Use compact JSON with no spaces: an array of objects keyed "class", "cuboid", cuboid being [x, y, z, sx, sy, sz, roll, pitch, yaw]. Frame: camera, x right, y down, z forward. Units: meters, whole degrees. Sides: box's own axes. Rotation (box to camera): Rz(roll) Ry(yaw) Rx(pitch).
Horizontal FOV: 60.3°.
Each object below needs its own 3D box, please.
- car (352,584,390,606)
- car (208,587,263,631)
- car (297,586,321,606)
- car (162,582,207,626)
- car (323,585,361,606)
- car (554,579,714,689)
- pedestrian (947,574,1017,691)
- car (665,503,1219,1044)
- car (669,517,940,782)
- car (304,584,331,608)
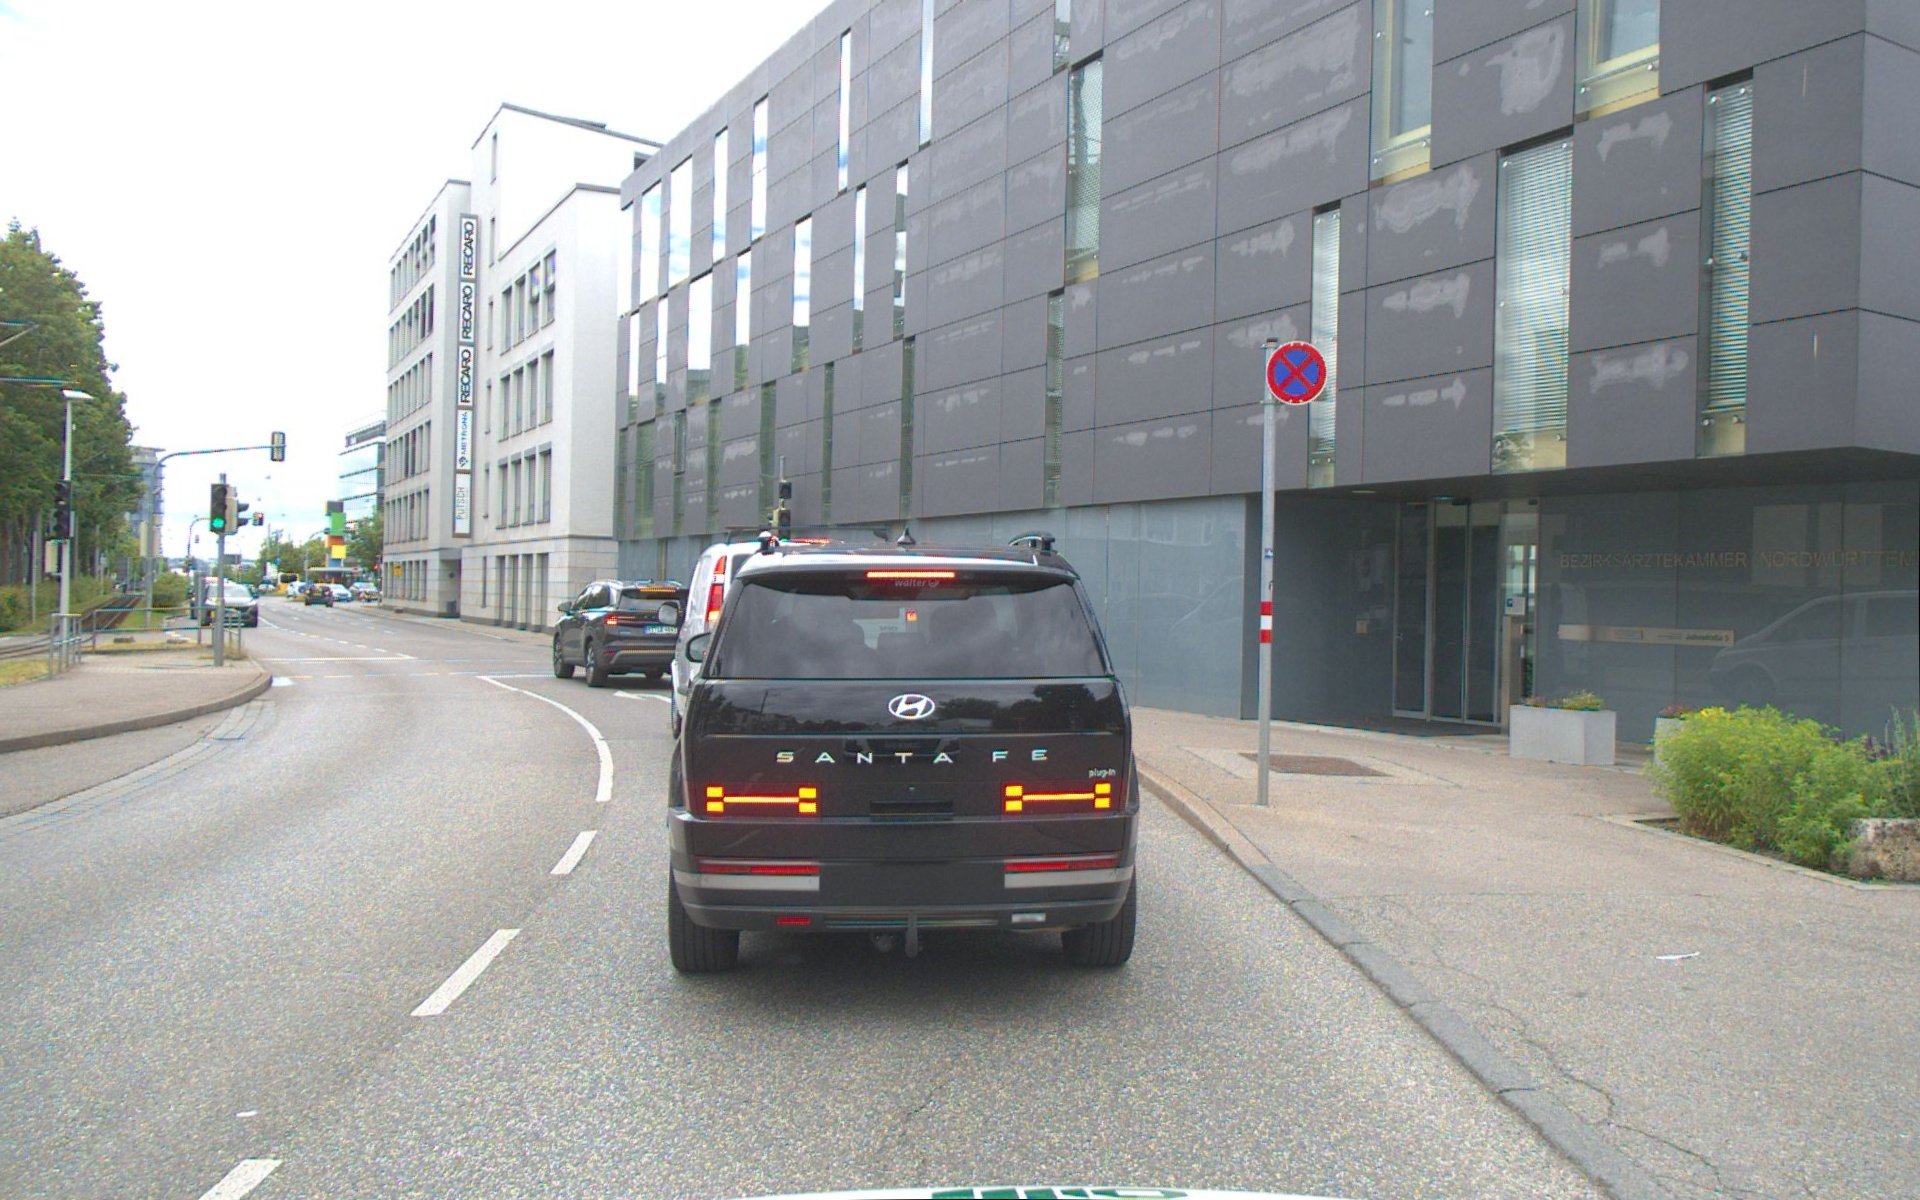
[{"class":"car","cuboid":[-51.505,-0.419,144.671,1.979,1.885,3.946,1,0,-38]},{"class":"car","cuboid":[-26.232,0.318,59.857,1.745,1.504,3.968,-1,0,-25]},{"class":"car","cuboid":[-53.313,-0.339,135.370,1.735,1.637,4.159,1,0,-23]},{"class":"car","cuboid":[-34.075,0.173,72.604,1.661,1.840,4.313,-1,0,-27]},{"class":"car","cuboid":[-53.501,-0.422,143.095,1.979,1.733,3.946,1,0,-38]},{"class":"car","cuboid":[-5.355,0.497,26.773,1.735,1.637,4.159,1,0,-23]},{"class":"pedestrian","cuboid":[0.324,0.480,24.921,0.703,1.724,0.858,2,-1,-28]},{"class":"car","cuboid":[-0.296,0.565,7.741,1.872,1.780,4.390,0,0,-7]},{"class":"car","cuboid":[-1.582,0.385,15.116,1.898,2.029,4.520,1,0,-13]},{"class":"car","cuboid":[-46.213,-0.278,118.919,1.735,1.637,4.159,1,0,-23]}]
